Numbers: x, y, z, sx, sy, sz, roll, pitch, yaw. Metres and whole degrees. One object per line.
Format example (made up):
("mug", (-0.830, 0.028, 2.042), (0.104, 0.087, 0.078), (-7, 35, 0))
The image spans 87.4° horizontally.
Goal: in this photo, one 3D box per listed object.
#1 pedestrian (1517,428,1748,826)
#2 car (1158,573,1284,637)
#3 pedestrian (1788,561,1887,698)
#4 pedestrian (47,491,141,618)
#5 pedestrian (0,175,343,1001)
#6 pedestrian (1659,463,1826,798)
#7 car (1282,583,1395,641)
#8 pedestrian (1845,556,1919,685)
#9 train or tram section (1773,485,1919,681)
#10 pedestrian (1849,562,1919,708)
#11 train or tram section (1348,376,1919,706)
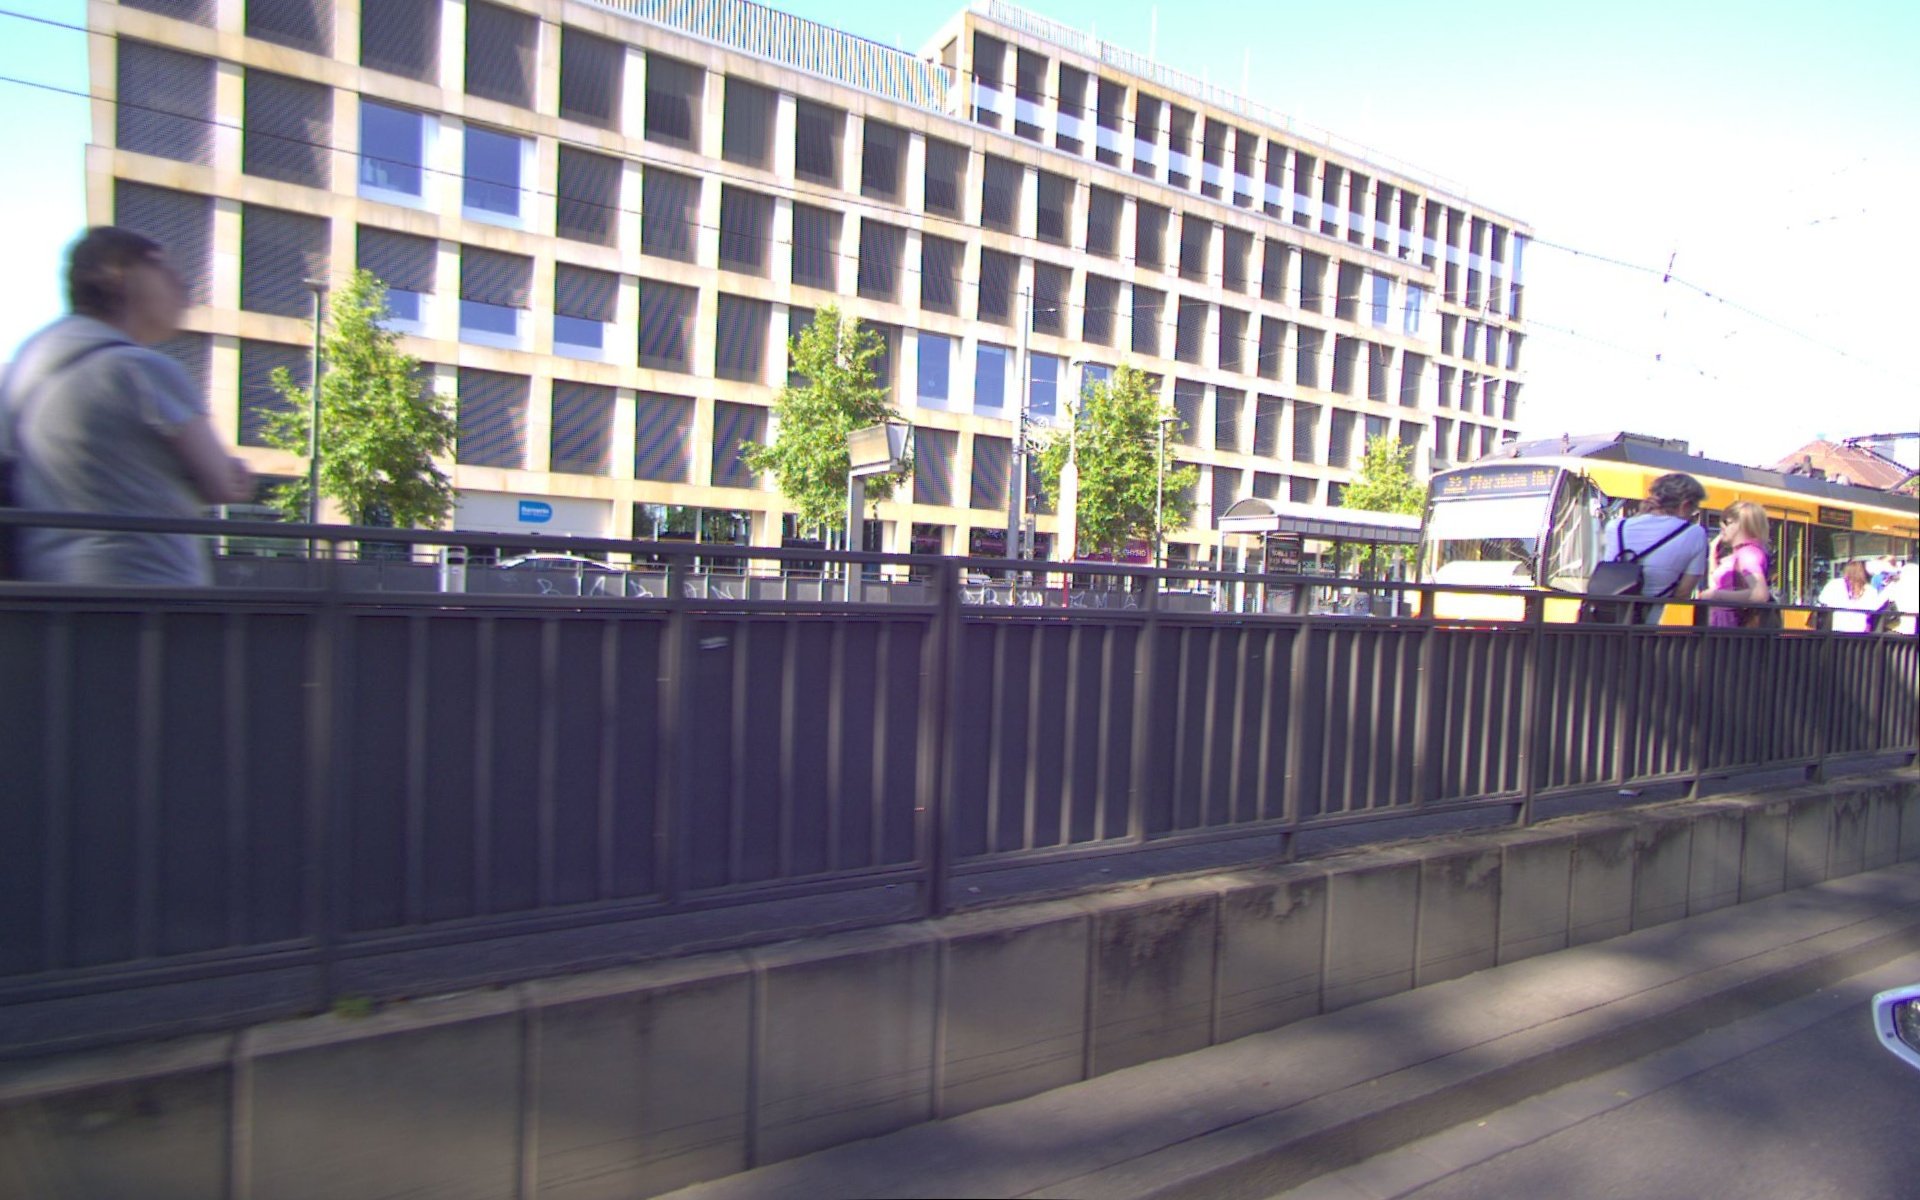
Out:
("pedestrian", (3.112, 0.117, 4.672), (0.606, 1.691, 0.609), (2, 2, -28))
("car", (8.940, 0.192, 34.382), (3.956, 2.041, 1.982), (1, 1, -33))
("pedestrian", (11.992, 0.382, 13.736), (0.618, 1.808, 0.789), (1, 2, -30))
("pedestrian", (-11.045, -0.567, 12.836), (0.714, 1.548, 0.613), (2, 1, -22))
("pedestrian", (-1.870, -0.021, 2.219), (0.713, 1.569, 0.613), (2, 1, -20))
("pedestrian", (4.208, 0.146, 5.406), (0.604, 1.664, 0.610), (3, 2, 41))
("car", (14.268, 0.463, 37.857), (3.956, 2.041, 1.982), (1, 1, -33))
("pedestrian", (13.381, 0.292, 14.516), (0.766, 1.808, 0.608), (1, 2, -30))
("train or tram section", (23.650, -0.204, 23.438), (11.706, 3.881, 3.292), (2, 1, -31))
("pedestrian", (12.046, 0.442, 12.816), (0.780, 1.808, 0.649), (3, 1, 20))
("train or tram section", (12.612, -0.557, 16.847), (14.054, 3.881, 3.292), (2, 1, -31))
